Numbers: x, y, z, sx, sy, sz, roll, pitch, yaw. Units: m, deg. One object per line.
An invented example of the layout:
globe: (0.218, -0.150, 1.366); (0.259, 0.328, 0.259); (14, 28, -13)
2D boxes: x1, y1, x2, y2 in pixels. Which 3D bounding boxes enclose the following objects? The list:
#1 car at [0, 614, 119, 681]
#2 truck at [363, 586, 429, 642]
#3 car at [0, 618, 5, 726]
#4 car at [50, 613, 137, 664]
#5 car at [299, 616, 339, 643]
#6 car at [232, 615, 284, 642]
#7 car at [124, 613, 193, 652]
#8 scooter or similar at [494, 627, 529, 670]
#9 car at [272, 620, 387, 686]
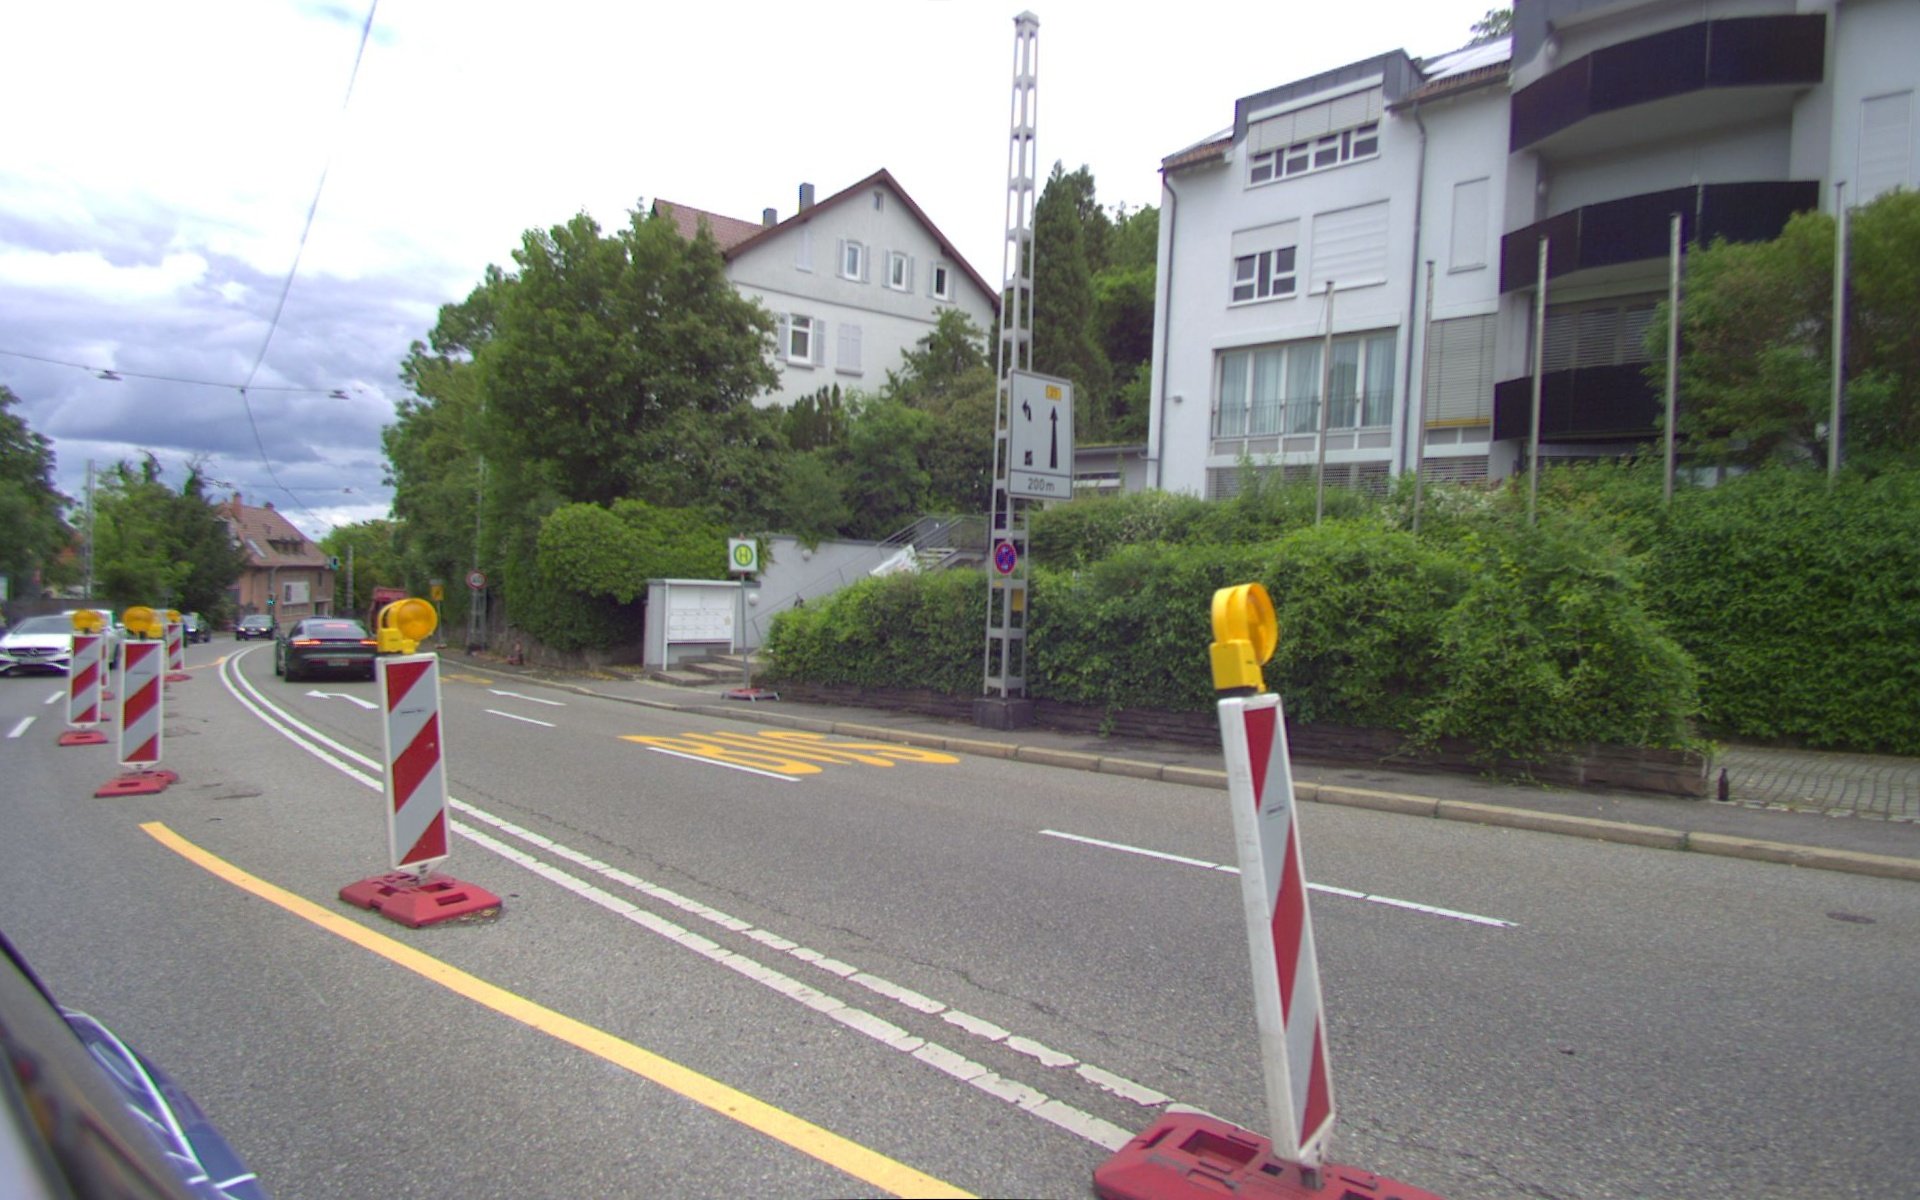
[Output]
car: (-22.154, 1.119, 24.829); (1.763, 1.492, 4.256); (1, -2, -32)
truck: (-41.313, 1.143, 74.440); (2.820, 3.726, 9.688); (4, -3, -22)
car: (-12.889, 0.943, 12.077); (1.764, 1.492, 4.253); (1, -2, -38)
car: (-28.503, 1.223, 33.403); (1.763, 1.563, 4.255); (0, -1, -35)
car: (-36.346, 1.683, 57.445); (1.690, 1.472, 4.012); (2, -2, -30)
car: (-40.451, 1.638, 58.370); (1.762, 1.492, 4.258); (0, -1, -25)
car: (-33.166, 1.347, 41.979); (1.769, 1.522, 4.011); (2, -2, -32)
scooter or similar: (-13.194, 1.424, 29.751); (1.282, 1.218, 0.423); (-1, 1, 43)
car: (-14.829, 1.198, 23.689); (1.797, 1.402, 4.447); (3, -3, -38)
